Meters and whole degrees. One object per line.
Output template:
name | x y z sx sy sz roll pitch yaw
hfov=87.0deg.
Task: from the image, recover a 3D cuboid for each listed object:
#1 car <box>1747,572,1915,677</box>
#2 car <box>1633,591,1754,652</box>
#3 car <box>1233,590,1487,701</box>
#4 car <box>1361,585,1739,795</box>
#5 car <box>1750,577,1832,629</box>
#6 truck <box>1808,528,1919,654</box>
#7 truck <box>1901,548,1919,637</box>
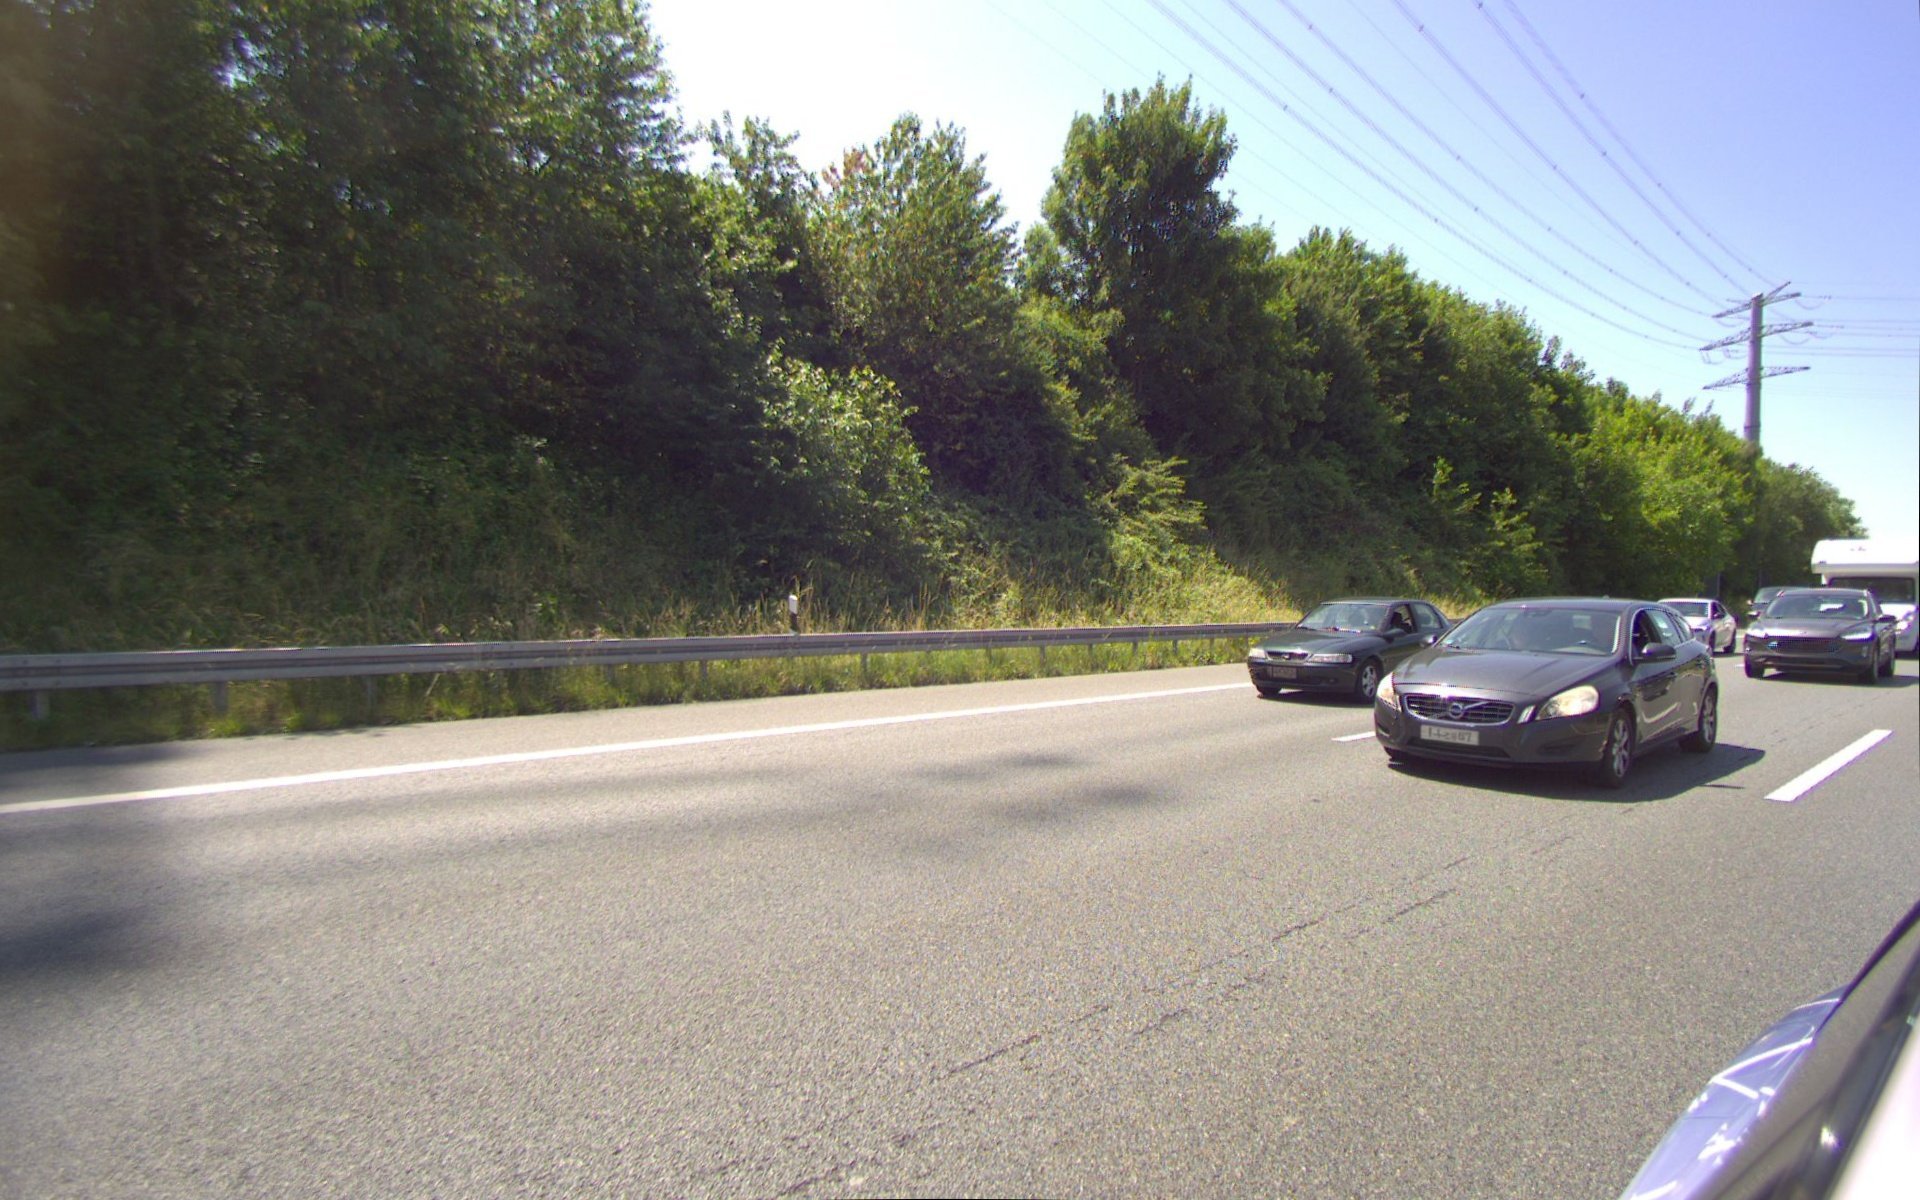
car | 16.195 0.373 18.747 4.309 1.724 1.889 -1 1 -43
car | 19.281 0.506 26.545 3.944 1.488 1.744 0 1 -41
car | 5.974 0.561 14.870 4.227 1.395 1.737 -1 0 -41
car | 5.435 0.596 9.086 4.159 1.455 1.798 -1 1 -43
car | 33.054 0.087 40.215 4.617 1.928 1.787 -1 0 -41
truck | 26.389 -0.276 28.282 9.723 3.053 2.513 -1 0 -40
truck | 37.200 -0.311 37.328 9.723 3.053 2.513 -1 0 -40
